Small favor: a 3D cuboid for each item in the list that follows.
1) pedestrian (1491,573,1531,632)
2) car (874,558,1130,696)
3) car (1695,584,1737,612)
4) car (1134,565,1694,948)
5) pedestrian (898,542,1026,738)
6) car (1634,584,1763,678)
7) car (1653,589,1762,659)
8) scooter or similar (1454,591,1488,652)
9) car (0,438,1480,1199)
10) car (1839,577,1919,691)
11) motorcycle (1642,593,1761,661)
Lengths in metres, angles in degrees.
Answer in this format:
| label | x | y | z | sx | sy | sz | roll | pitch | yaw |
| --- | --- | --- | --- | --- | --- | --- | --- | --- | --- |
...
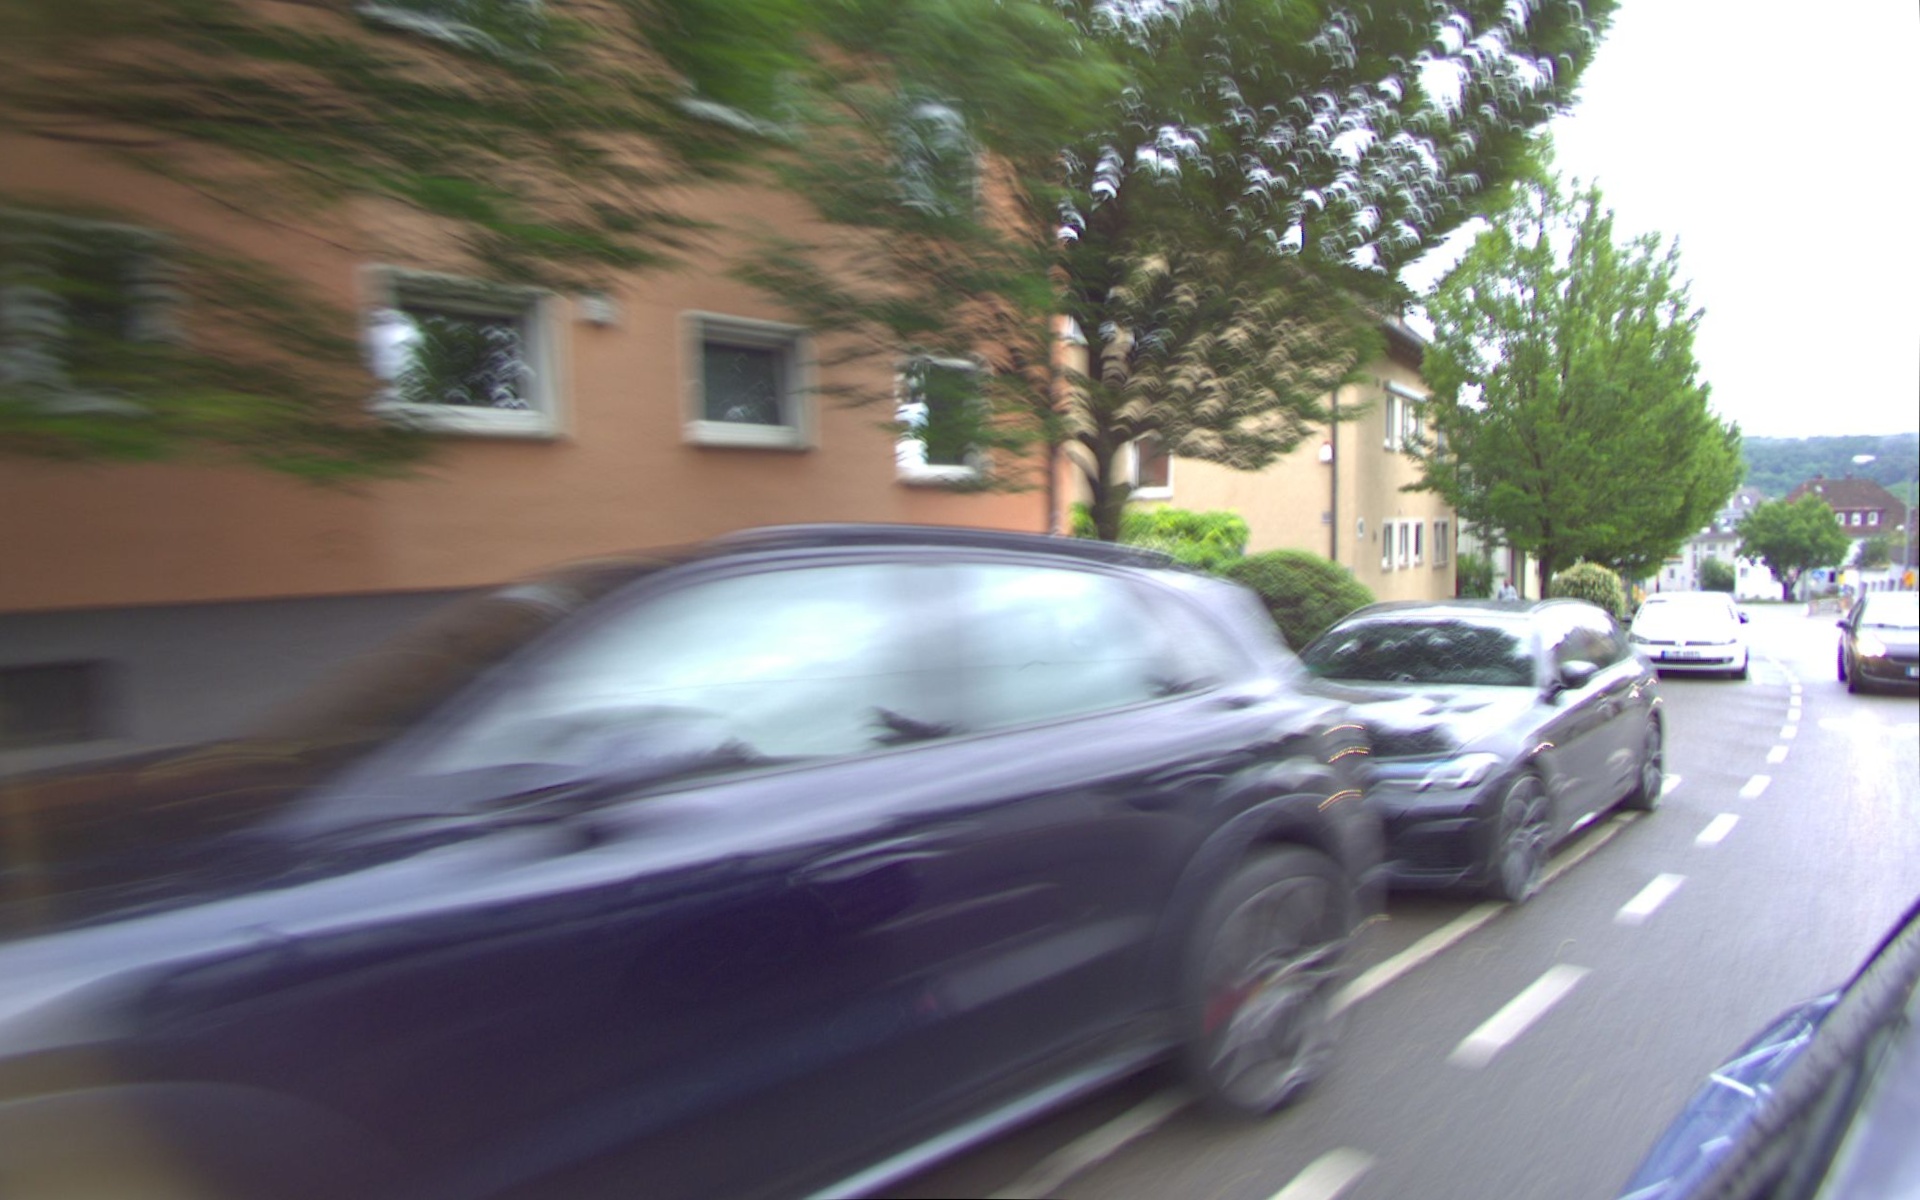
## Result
| label | x | y | z | sx | sy | sz | roll | pitch | yaw |
| --- | --- | --- | --- | --- | --- | --- | --- | --- | --- |
| pedestrian | 16.659 | 0.060 | 30.601 | 0.831 | 1.706 | 1.031 | 4 | 2 | 37 |
| car | 0.616 | 0.500 | 17.171 | 3.985 | 1.831 | 1.872 | -10 | -4 | 44 |
| car | 54.069 | -0.139 | 72.439 | 2.001 | 1.927 | 4.049 | 0 | 0 | 31 |
| car | 3.262 | 0.616 | 6.607 | 1.855 | 1.601 | 4.781 | 1 | 1 | 44 |
| pedestrian | 0.024 | 0.346 | 9.662 | 0.760 | 1.741 | 0.888 | 4 | 3 | 44 |
| car | 13.398 | 0.486 | 18.277 | 1.654 | 1.508 | 3.943 | -1 | 0 | 39 |
| car | 17.272 | 0.482 | 23.343 | 1.874 | 1.434 | 4.406 | 0 | 0 | 38 |
| scooter or similar | 10.889 | 0.441 | 21.557 | 0.412 | 1.260 | 1.158 | 1 | 1 | 39 |
| car | -0.830 | 0.619 | 2.759 | 5.140 | 1.677 | 2.059 | -1 | 1 | -38 |
| car | 14.510 | 0.455 | 15.202 | 1.887 | 1.549 | 3.994 | 0 | 0 | 42 |
| motorcycle | 15.232 | 0.539 | 20.856 | 1.906 | 1.347 | 0.778 | -1 | -1 | 35 |
